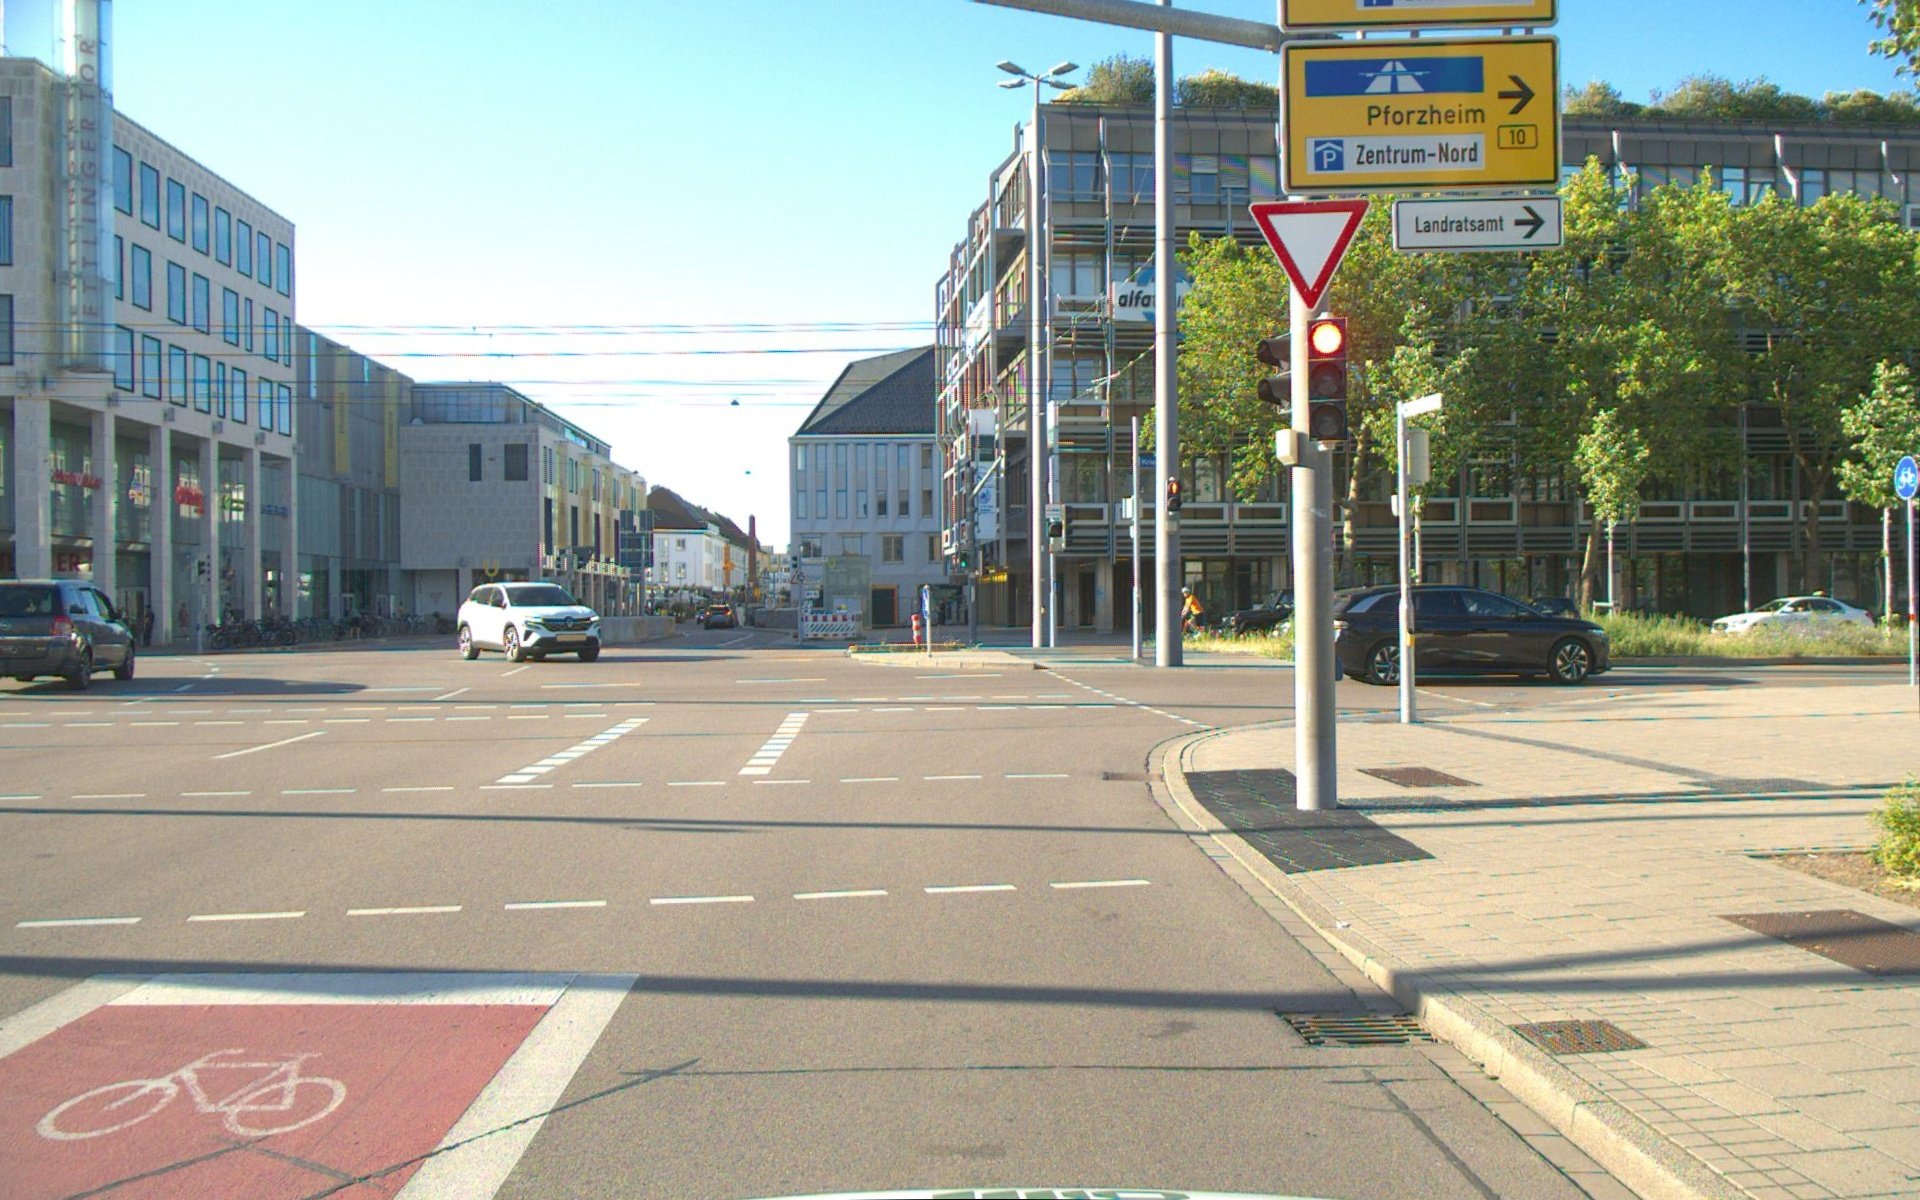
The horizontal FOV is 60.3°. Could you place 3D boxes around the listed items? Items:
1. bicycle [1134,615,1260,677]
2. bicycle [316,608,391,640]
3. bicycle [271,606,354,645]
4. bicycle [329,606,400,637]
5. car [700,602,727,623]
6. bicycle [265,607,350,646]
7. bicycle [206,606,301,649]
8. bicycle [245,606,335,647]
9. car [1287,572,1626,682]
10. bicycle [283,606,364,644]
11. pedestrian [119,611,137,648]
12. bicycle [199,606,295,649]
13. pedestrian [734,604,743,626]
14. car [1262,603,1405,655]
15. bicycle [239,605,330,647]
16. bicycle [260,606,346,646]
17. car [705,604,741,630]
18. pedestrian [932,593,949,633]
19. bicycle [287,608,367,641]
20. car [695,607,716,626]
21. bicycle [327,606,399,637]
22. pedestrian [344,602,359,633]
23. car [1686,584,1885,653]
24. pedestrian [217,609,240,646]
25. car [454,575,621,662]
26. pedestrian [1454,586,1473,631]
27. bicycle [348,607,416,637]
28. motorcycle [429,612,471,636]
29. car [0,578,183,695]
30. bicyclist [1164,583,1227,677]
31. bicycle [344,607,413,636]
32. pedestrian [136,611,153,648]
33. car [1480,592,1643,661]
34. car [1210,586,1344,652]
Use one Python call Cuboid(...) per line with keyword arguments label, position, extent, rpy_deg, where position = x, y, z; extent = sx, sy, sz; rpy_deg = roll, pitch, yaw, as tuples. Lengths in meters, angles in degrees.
Cuboid(label="bicycle", position=(6.753, 1.307, 47.217), extent=(3.427, 1.688, 0.929), rpy_deg=(-1, 0, -10))
Cuboid(label="bicycle", position=(-30.881, 1.221, 84.259), extent=(3.430, 1.554, 0.984), rpy_deg=(-1, 0, -12))
Cuboid(label="bicycle", position=(-30.035, 1.188, 76.774), extent=(3.430, 1.726, 0.984), rpy_deg=(-1, 0, -12))
Cuboid(label="bicycle", position=(-31.386, 1.117, 87.237), extent=(3.430, 1.554, 0.984), rpy_deg=(-1, 0, -12))
Cuboid(label="car", position=(-21.314, 1.082, 143.076), extent=(1.954, 1.689, 4.402), rpy_deg=(-1, 0, -5))
Cuboid(label="bicycle", position=(-29.794, 1.187, 75.574), extent=(3.430, 1.726, 0.984), rpy_deg=(-1, 0, -12))
Cuboid(label="bicycle", position=(-29.552, 1.157, 69.234), extent=(3.427, 1.726, 1.114), rpy_deg=(-1, 0, -10))
Cuboid(label="bicycle", position=(-29.095, 1.132, 71.917), extent=(3.427, 1.726, 1.114), rpy_deg=(-1, 0, -10))
Cuboid(label="car", position=(7.868, 0.394, 26.498), extent=(4.839, 1.629, 1.999), rpy_deg=(0, 1, -4))
Cuboid(label="bicycle", position=(-30.334, 1.197, 78.859), extent=(3.430, 1.726, 0.984), rpy_deg=(-1, 0, -12))
Cuboid(label="pedestrian", position=(-35.042, 1.256, 69.631), extent=(0.501, 1.537, 0.513), rpy_deg=(-1, 0, -5))
Cuboid(label="bicycle", position=(-29.318, 1.122, 68.025), extent=(3.427, 1.726, 1.114), rpy_deg=(-1, 0, -10))
Cuboid(label="pedestrian", position=(-14.494, 0.962, 108.284), extent=(0.598, 1.436, 0.569), rpy_deg=(-1, 0, -7))
Cuboid(label="car", position=(11.444, 0.869, 50.811), extent=(3.908, 1.534, 1.867), rpy_deg=(1, 0, -4))
Cuboid(label="bicycle", position=(-28.864, 1.096, 70.705), extent=(3.427, 1.726, 1.114), rpy_deg=(-1, 0, -10))
Cuboid(label="bicycle", position=(-29.570, 1.177, 74.486), extent=(3.430, 1.726, 0.984), rpy_deg=(-1, 0, -12))
Cuboid(label="car", position=(-15.495, 1.105, 108.157), extent=(2.157, 1.635, 4.320), rpy_deg=(-1, 0, -6))
Cuboid(label="pedestrian", position=(-0.817, 0.541, 69.412), extent=(0.650, 1.687, 0.755), rpy_deg=(-1, 0, -4))
Cuboid(label="bicycle", position=(-30.538, 1.180, 79.849), extent=(3.430, 1.554, 0.984), rpy_deg=(-1, 0, -12))
Cuboid(label="car", position=(-25.125, 1.612, 163.654), extent=(1.722, 1.814, 3.997), rpy_deg=(-1, 0, -4))
Cuboid(label="bicycle", position=(-31.069, 1.129, 86.120), extent=(3.430, 1.554, 0.984), rpy_deg=(-1, 0, -12))
Cuboid(label="pedestrian", position=(-33.715, 0.964, 91.657), extent=(0.641, 1.671, 0.693), rpy_deg=(-1, 0, -9))
Cuboid(label="car", position=(26.177, 0.583, 52.571), extent=(5.332, 2.049, 2.096), rpy_deg=(1, 0, -3))
Cuboid(label="pedestrian", position=(-33.300, 1.233, 75.287), extent=(0.770, 1.671, 0.693), rpy_deg=(-1, 0, -9))
Cuboid(label="car", position=(-8.926, 0.336, 34.705), extent=(1.978, 1.689, 4.350), rpy_deg=(-1, 1, -36))
Cuboid(label="pedestrian", position=(18.770, 0.314, 61.646), extent=(0.529, 1.698, 0.536), rpy_deg=(-1, 0, -3))
Cuboid(label="bicycle", position=(-31.945, 1.207, 91.417), extent=(3.430, 1.554, 0.984), rpy_deg=(-1, 0, -12))
Cuboid(label="motorcycle", position=(-30.071, 1.406, 97.535), extent=(2.230, 1.341, 0.719), rpy_deg=(-1, 0, -6))
Cuboid(label="car", position=(-13.820, 0.502, 25.661), extent=(1.956, 1.635, 4.472), rpy_deg=(-1, 1, -8))
Cuboid(label="bicyclist", position=(6.723, 0.838, 47.218), extent=(1.539, 2.625, 0.930), rpy_deg=(-1, 0, -10))
Cuboid(label="bicycle", position=(-31.781, 1.177, 90.393), extent=(3.430, 1.554, 0.984), rpy_deg=(-1, 0, -12))
Cuboid(label="pedestrian", position=(-34.657, 1.261, 70.274), extent=(0.472, 1.537, 0.513), rpy_deg=(-1, 0, -5))
Cuboid(label="car", position=(18.832, 0.826, 51.875), extent=(4.359, 2.049, 1.998), rpy_deg=(1, 0, -6))
Cuboid(label="car", position=(10.309, 0.603, 53.914), extent=(3.908, 2.049, 1.999), rpy_deg=(1, 0, -3))
